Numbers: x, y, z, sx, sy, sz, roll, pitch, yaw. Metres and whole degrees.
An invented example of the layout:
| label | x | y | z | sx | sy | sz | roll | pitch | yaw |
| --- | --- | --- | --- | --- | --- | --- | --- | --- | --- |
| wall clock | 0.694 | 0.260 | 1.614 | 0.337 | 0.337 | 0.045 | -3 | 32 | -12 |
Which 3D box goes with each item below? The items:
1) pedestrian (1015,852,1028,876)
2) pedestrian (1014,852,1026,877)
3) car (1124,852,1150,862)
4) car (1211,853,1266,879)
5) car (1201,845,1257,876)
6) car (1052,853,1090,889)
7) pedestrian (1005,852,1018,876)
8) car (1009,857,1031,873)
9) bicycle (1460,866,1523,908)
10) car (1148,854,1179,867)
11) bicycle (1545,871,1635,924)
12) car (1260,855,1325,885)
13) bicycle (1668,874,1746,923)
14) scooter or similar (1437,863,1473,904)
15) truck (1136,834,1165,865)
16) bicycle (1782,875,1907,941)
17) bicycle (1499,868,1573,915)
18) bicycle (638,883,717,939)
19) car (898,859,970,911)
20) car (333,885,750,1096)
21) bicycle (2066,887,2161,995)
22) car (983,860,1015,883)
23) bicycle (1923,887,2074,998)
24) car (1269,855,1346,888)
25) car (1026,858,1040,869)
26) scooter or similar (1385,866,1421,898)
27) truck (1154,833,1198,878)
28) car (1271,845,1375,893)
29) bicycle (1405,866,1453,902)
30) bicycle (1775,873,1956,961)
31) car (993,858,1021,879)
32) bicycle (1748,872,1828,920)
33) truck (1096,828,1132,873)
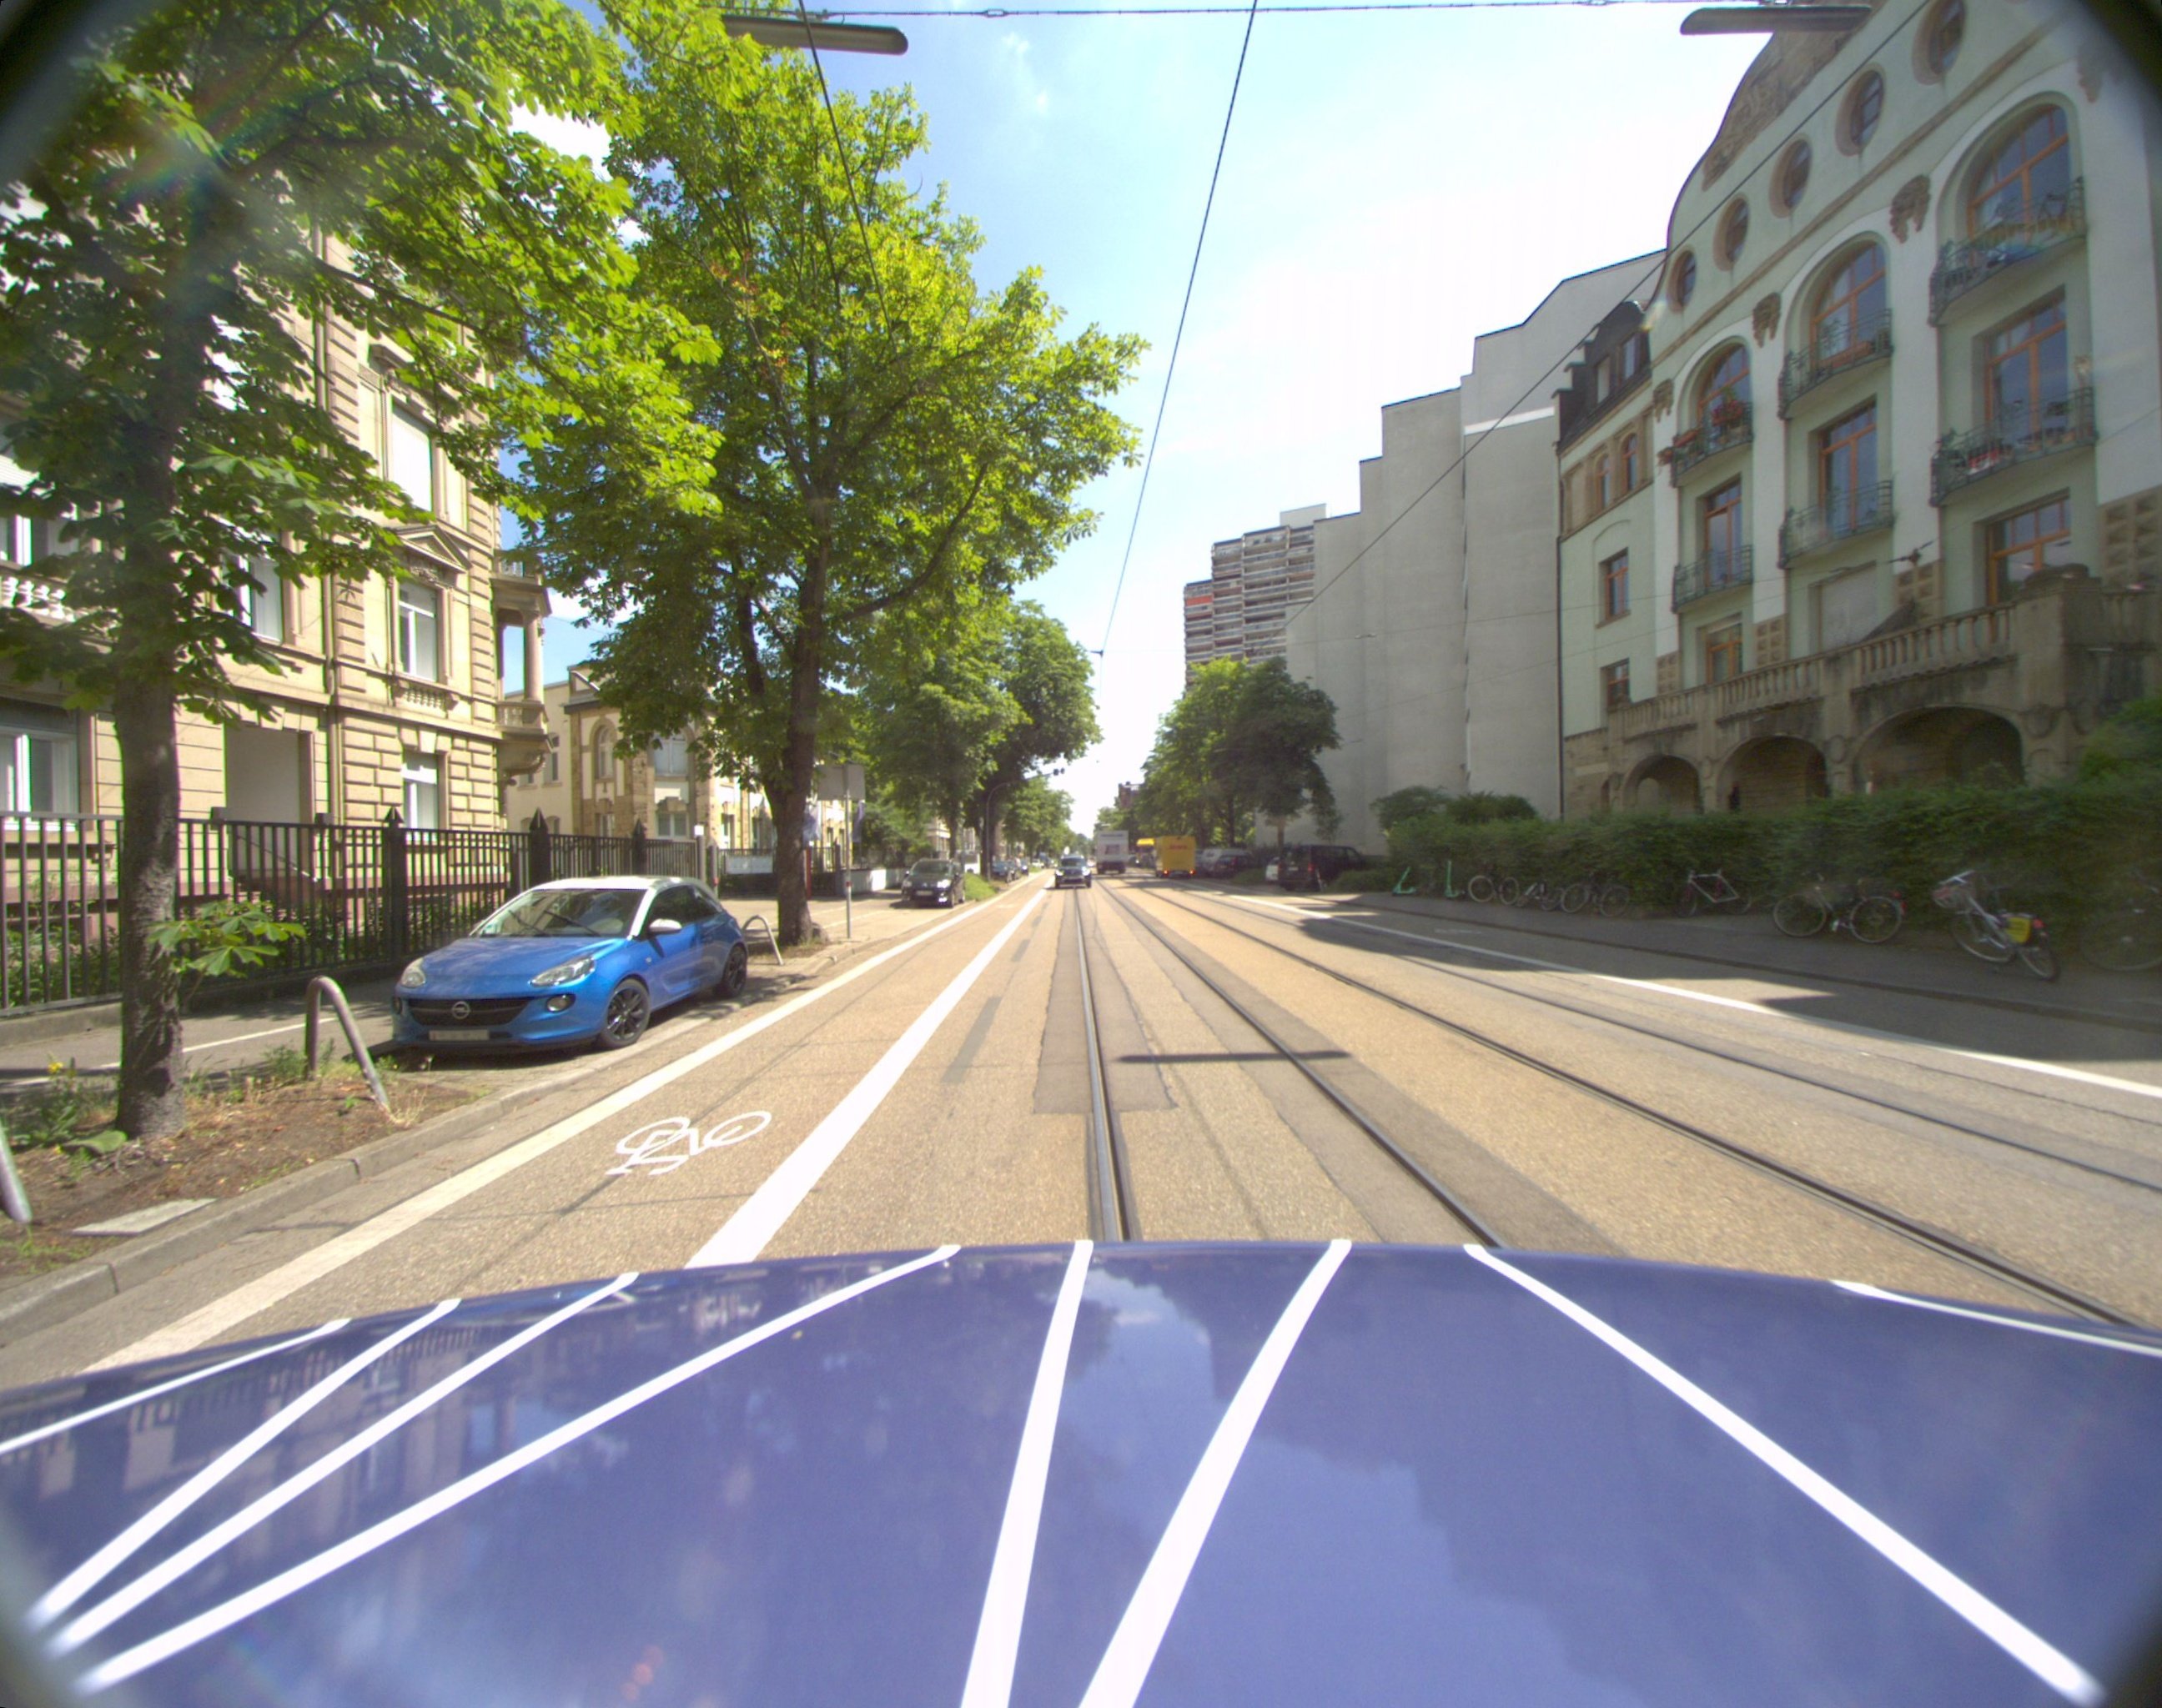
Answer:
| label | x | y | z | sx | sy | sz | roll | pitch | yaw |
| --- | --- | --- | --- | --- | --- | --- | --- | --- | --- |
| pedestrian | -4.641 | 0.808 | 59.377 | 0.741 | 1.839 | 0.645 | -1 | 1 | -38 |
| pedestrian | -4.677 | 0.807 | 57.987 | 0.645 | 1.839 | 0.741 | -1 | 1 | 17 |
| car | 10.232 | 0.555 | 137.800 | 4.337 | 1.797 | 1.995 | -1 | 0 | -33 |
| car | 10.176 | 0.726 | 48.954 | 3.692 | 1.566 | 1.678 | -1 | 1 | -43 |
| car | 10.221 | 0.399 | 52.467 | 4.061 | 2.030 | 1.598 | -1 | 0 | -41 |
| car | -0.480 | 0.802 | 38.457 | 1.752 | 1.641 | 4.297 | -3 | 0 | -1 |
| pedestrian | -5.336 | 0.789 | 58.425 | 0.645 | 1.839 | 0.741 | -1 | 1 | 26 |
| car | -5.380 | 0.947 | 67.394 | 1.626 | 1.395 | 3.999 | 1 | 0 | -1 |
| bicycle | 10.726 | 0.847 | 19.918 | 0.609 | 0.983 | 1.708 | -5 | 0 | -1 |
| car | 9.647 | 0.754 | 88.690 | 1.678 | 1.445 | 3.682 | -1 | 0 | 44 |
| bicycle | 10.645 | 0.882 | 15.972 | 0.609 | 0.970 | 1.771 | -5 | 0 | -1 |
| car | 11.001 | 0.819 | 39.463 | 1.721 | 1.445 | 3.635 | -1 | 0 | 44 |
| bicycle | 11.996 | 0.841 | 14.574 | 1.208 | 0.903 | 0.340 | -1 | 1 | 1 |
| scooter or similar | 10.622 | 0.828 | 21.603 | 0.407 | 1.113 | 1.291 | -1 | 0 | 1 |
| truck | 9.924 | -0.624 | 107.797 | 2.672 | 4.155 | 10.483 | -1 | 0 | 13 |
| bicycle | 12.163 | 0.856 | 12.115 | 1.576 | 0.923 | 0.391 | -3 | 0 | -1 |
| bicycle | 10.706 | 0.857 | 17.943 | 0.609 | 0.983 | 1.708 | -5 | 0 | -1 |
| bicycle | -8.751 | 1.201 | 16.580 | 0.609 | 1.065 | 1.980 | -1 | 0 | 1 |
| car | -5.033 | 1.016 | 26.530 | 1.734 | 1.606 | 4.084 | 1 | 0 | 0 |
| car | -4.883 | 1.112 | 7.555 | 1.695 | 1.444 | 3.473 | -1 | 0 | -1 |
| bicycle | 10.707 | 0.860 | 7.203 | 0.465 | 0.993 | 1.708 | -4 | 0 | 0 |
| car | -5.181 | 1.081 | 48.301 | 1.626 | 1.395 | 3.822 | 1 | 0 | -1 |
| bicycle | 9.959 | 0.907 | 8.323 | 0.608 | 0.993 | 1.778 | -1 | 0 | 35 |
| car | 10.851 | 0.814 | 36.235 | 3.953 | 1.445 | 1.678 | -1 | 0 | -41 |
| car | -6.387 | 1.299 | 101.805 | 1.626 | 1.395 | 3.999 | 1 | 0 | -1 |
| scooter or similar | 10.563 | 0.904 | 24.979 | 0.407 | 1.014 | 1.222 | -1 | 0 | -16 |
| truck | 6.512 | 0.075 | 53.061 | 2.306 | 2.903 | 6.515 | -1 | 0 | 1 |
| car | 10.476 | 0.587 | 32.731 | 4.595 | 1.914 | 1.957 | -1 | 0 | -38 |
| bicycle | 10.655 | 0.895 | 23.332 | 0.609 | 0.983 | 1.708 | -5 | 0 | -1 |
| bicycle | 10.854 | 0.829 | 10.608 | 0.609 | 1.026 | 1.771 | -5 | 0 | -1 |
| car | -5.327 | 1.051 | 55.041 | 1.626 | 1.395 | 3.999 | 1 | 0 | -1 |
| bicycle | 13.580 | 0.803 | 14.608 | 1.208 | 0.903 | 0.340 | -1 | 1 | 1 |
| truck | 2.741 | -0.275 | 65.672 | 2.792 | 3.598 | 8.255 | -1 | 0 | 1 |
